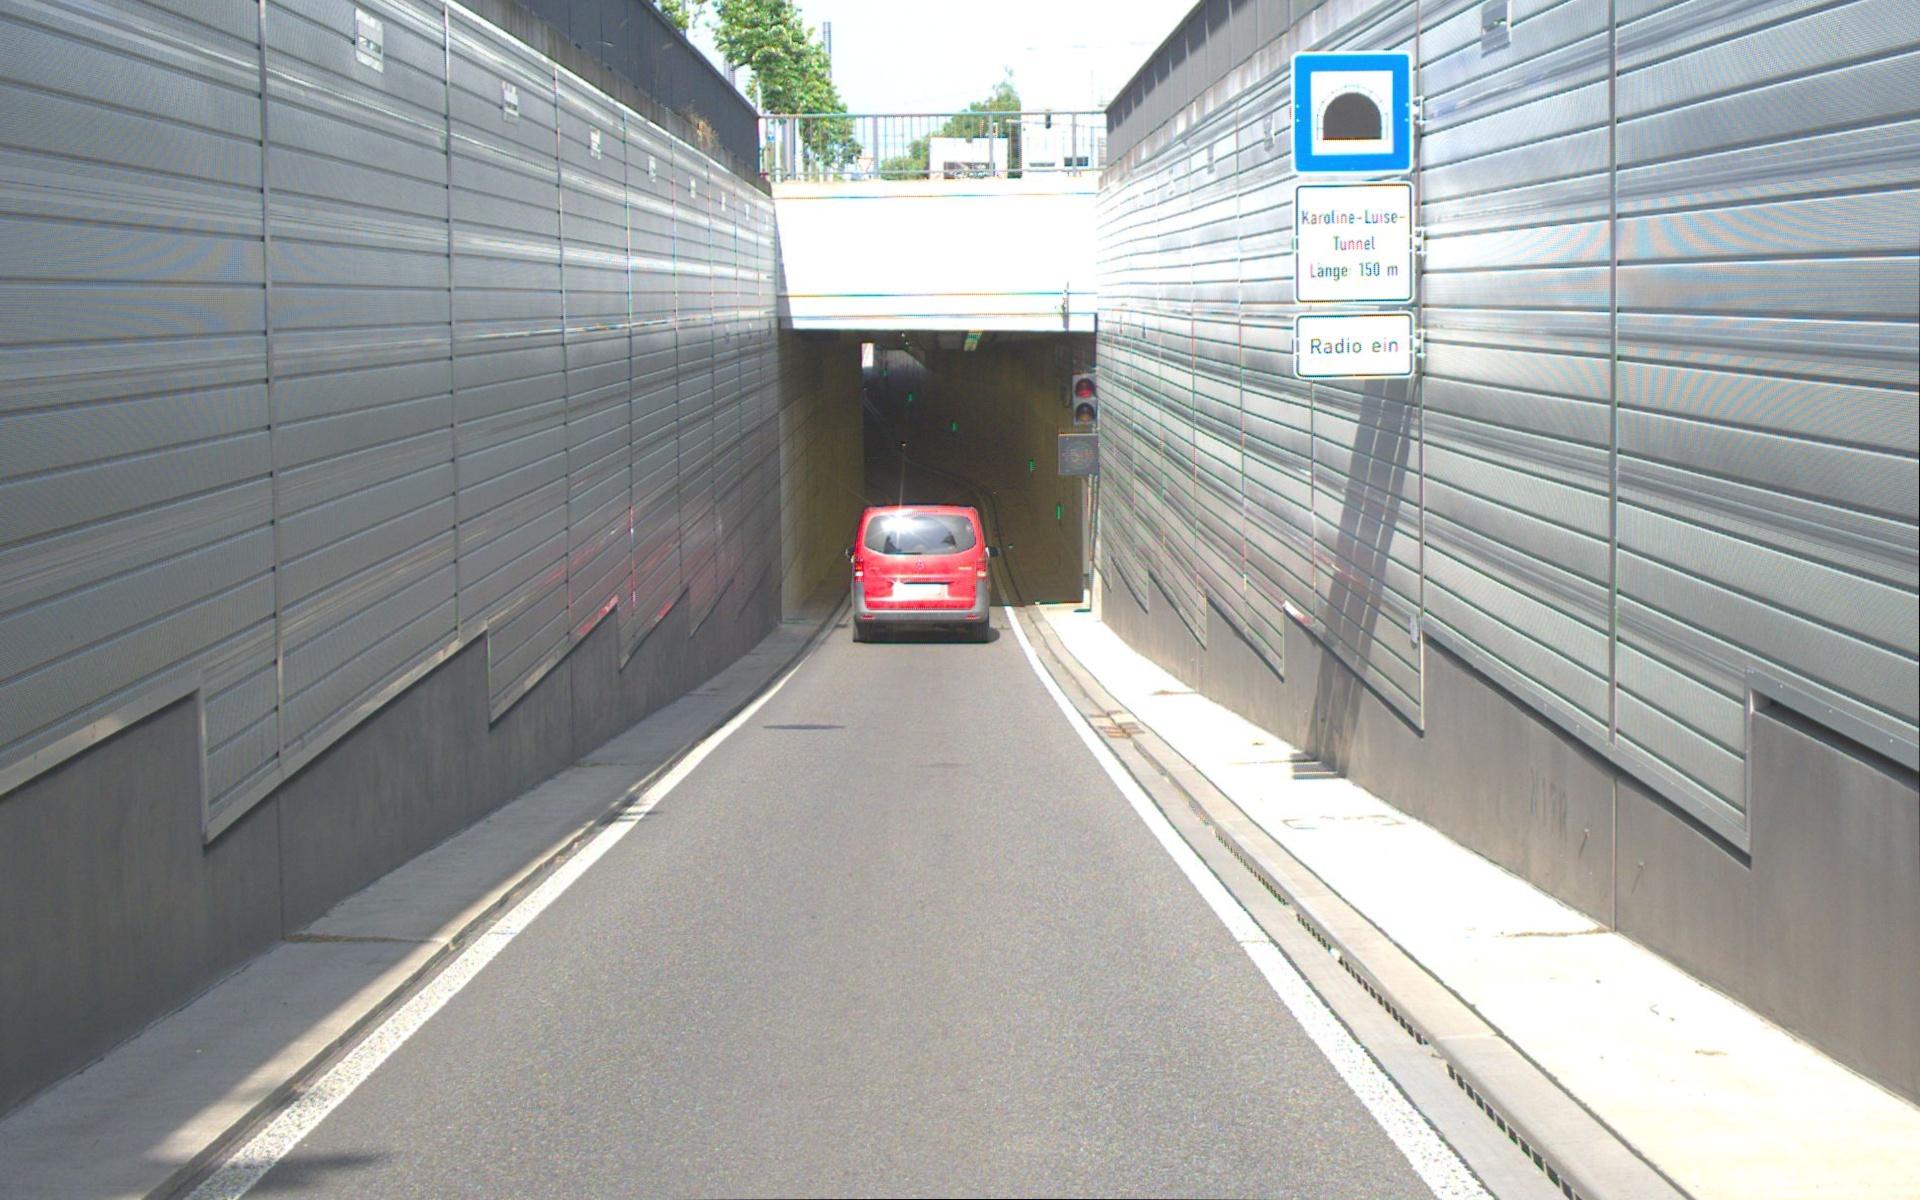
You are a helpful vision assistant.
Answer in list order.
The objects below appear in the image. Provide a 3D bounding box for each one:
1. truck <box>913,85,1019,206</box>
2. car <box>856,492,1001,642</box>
[{"bbox_3d":[0.139,-15.901,120.988,3.390,3.712,10.455,-1,5,-1],"label":"truck"},{"bbox_3d":[-0.446,-0.503,47.850,1.901,1.853,4.001,1,3,-1],"label":"car"}]
